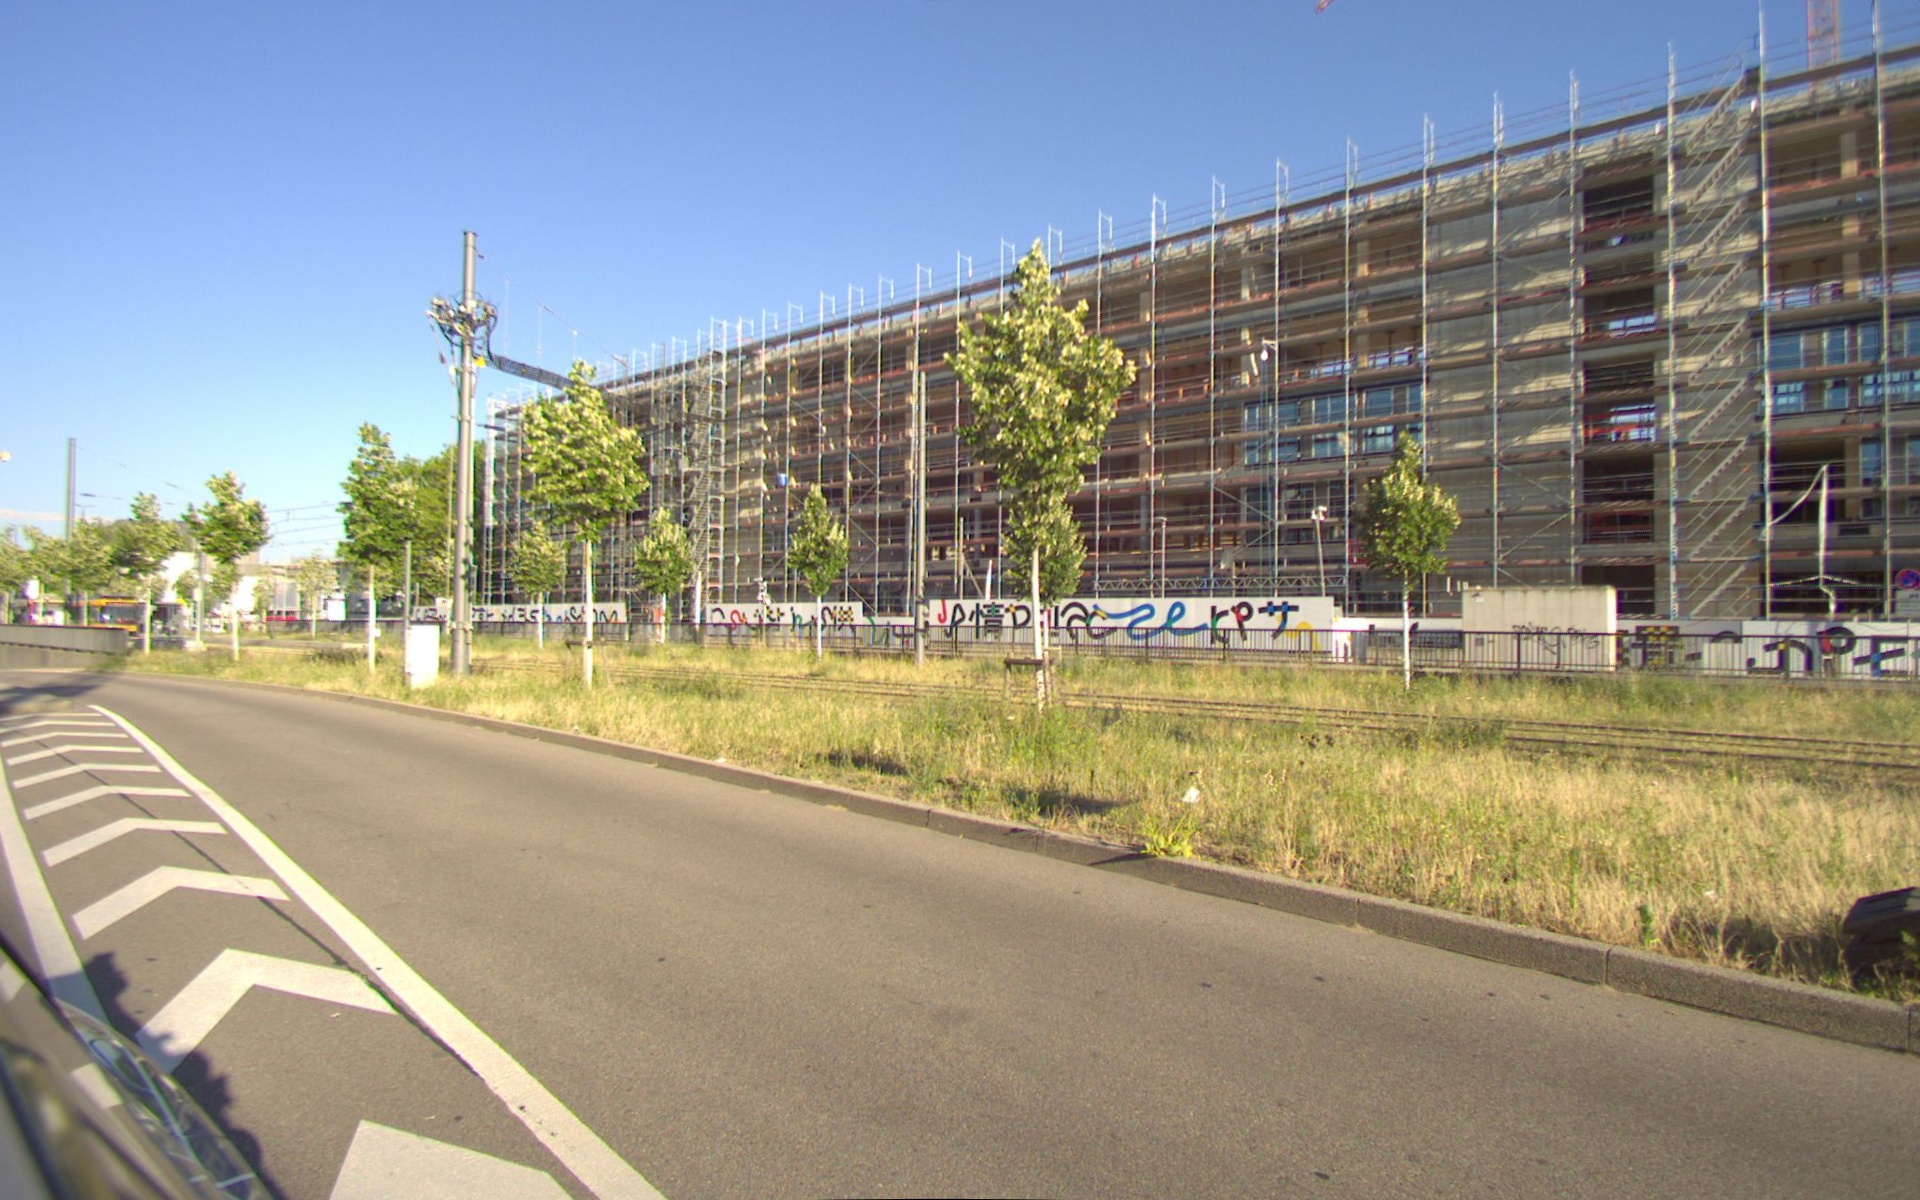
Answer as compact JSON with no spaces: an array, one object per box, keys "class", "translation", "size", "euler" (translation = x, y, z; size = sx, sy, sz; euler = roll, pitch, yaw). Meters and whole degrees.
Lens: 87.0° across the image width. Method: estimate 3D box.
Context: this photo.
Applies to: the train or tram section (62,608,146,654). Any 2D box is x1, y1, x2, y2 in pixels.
[{"class":"train or tram section","translation":[-68.176,2.393,80.472],"size":[12.621,3.423,2.917],"euler":[-1,-1,40]}]
